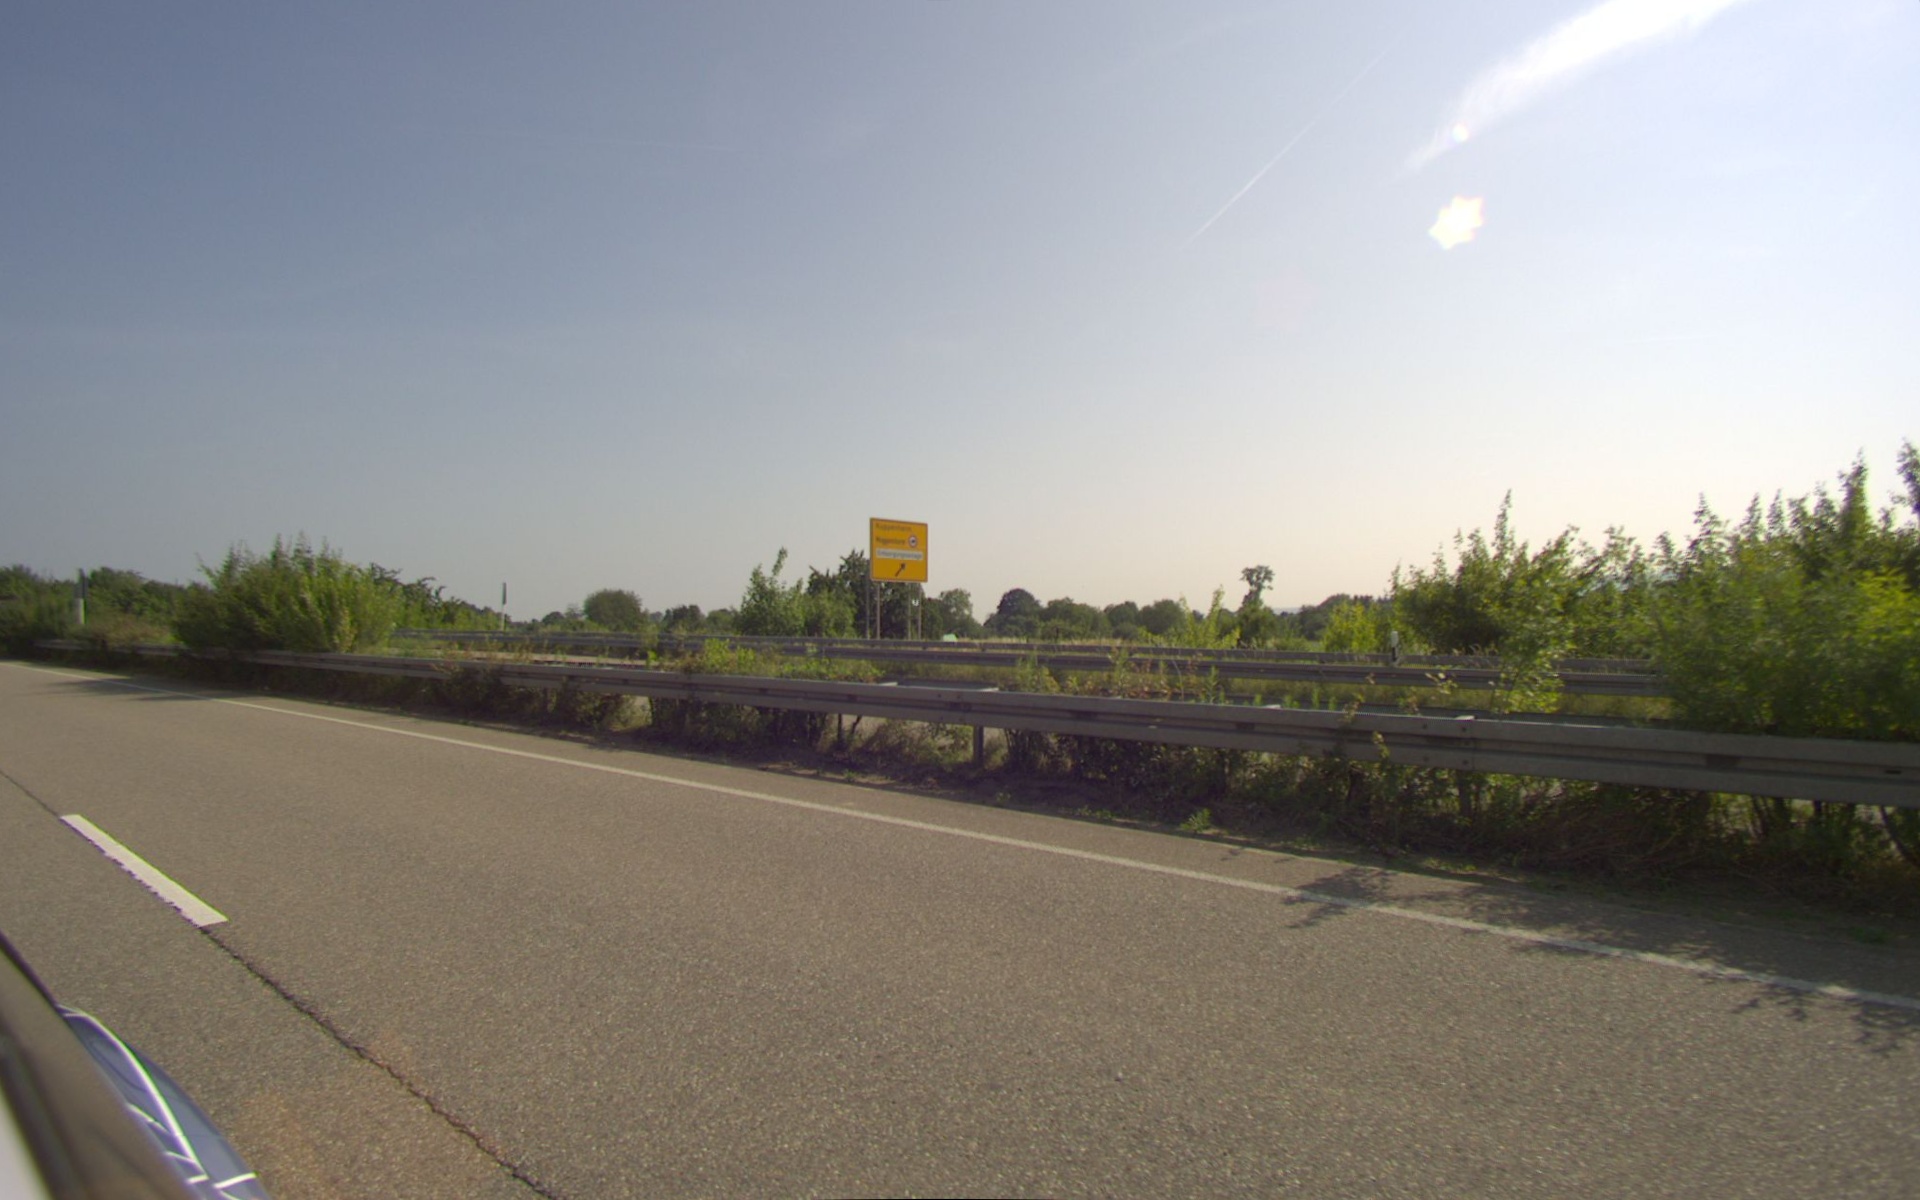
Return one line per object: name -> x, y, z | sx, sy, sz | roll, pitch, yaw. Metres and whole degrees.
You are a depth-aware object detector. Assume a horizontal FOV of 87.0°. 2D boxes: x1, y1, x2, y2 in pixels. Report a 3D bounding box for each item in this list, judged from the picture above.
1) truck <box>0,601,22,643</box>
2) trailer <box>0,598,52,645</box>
truck -> -79.069, 1.798, 83.229 | 5.620, 3.401, 1.975 | -1, -1, 38
trailer -> -74.088, 1.693, 79.322 | 13.407, 3.401, 1.975 | -1, -1, 38
